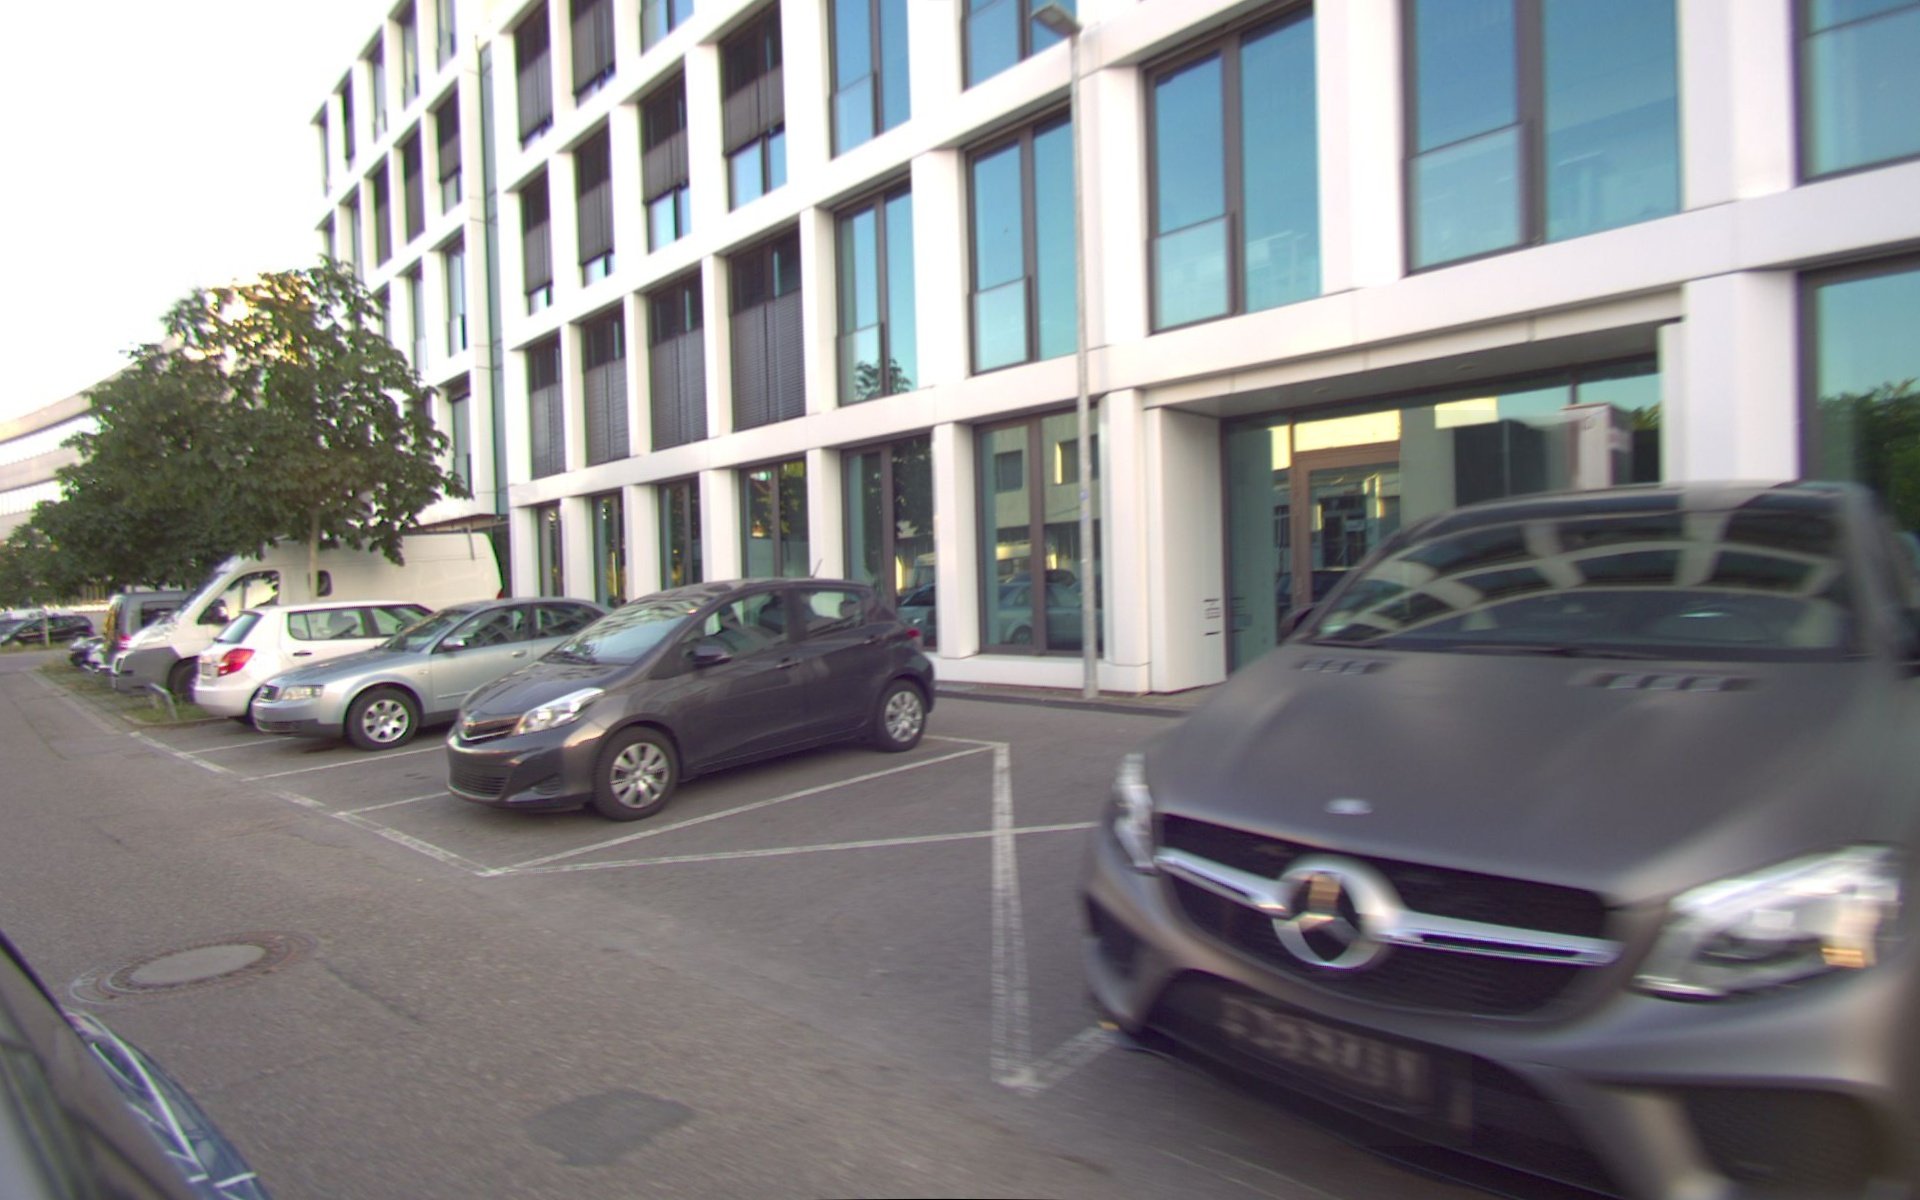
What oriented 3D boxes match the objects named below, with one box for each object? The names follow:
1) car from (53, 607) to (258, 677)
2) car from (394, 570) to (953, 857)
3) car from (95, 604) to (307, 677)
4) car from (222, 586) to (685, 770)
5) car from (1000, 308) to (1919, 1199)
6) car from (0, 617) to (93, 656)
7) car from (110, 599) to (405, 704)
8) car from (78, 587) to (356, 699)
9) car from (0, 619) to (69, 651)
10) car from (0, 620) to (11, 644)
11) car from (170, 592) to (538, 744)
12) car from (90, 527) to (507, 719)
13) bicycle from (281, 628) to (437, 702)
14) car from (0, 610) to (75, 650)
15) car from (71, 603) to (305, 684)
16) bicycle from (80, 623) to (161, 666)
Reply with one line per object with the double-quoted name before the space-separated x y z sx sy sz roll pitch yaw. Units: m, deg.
"car" -21.708 1.083 27.423 1.844 1.530 4.066 -2 2 41
"car" -1.953 0.623 7.727 1.693 1.533 3.742 -2 2 41
"car" -19.453 0.987 26.062 1.845 1.530 4.064 -2 2 42
"car" -5.500 0.710 11.401 1.795 1.506 4.260 -2 2 44
"car" 2.477 0.359 3.519 4.565 1.719 2.006 -4 2 -43
"car" -44.483 1.742 48.948 1.725 1.559 3.607 -1 3 42
"car" -12.693 0.849 18.501 1.773 1.510 4.068 -2 1 39
"car" -14.593 0.761 20.062 1.814 1.830 4.068 -2 1 39
"car" -48.558 1.844 52.228 1.725 1.434 3.608 -1 3 41
"car" -58.642 2.016 59.546 1.796 1.370 3.768 -2 2 37
"car" -7.636 0.750 12.986 1.707 1.506 3.668 -2 2 43
"car" -10.631 0.207 16.637 2.079 2.652 5.321 -2 2 44
"bicycle" -8.786 0.945 14.820 1.888 0.922 0.673 -3 0 5
"car" -50.689 1.636 53.866 1.886 1.894 5.024 -2 2 37
"car" -18.001 0.952 23.728 1.780 1.530 4.064 -2 2 42
"bicycle" -23.660 1.242 28.539 0.566 1.073 1.677 -2 2 44
